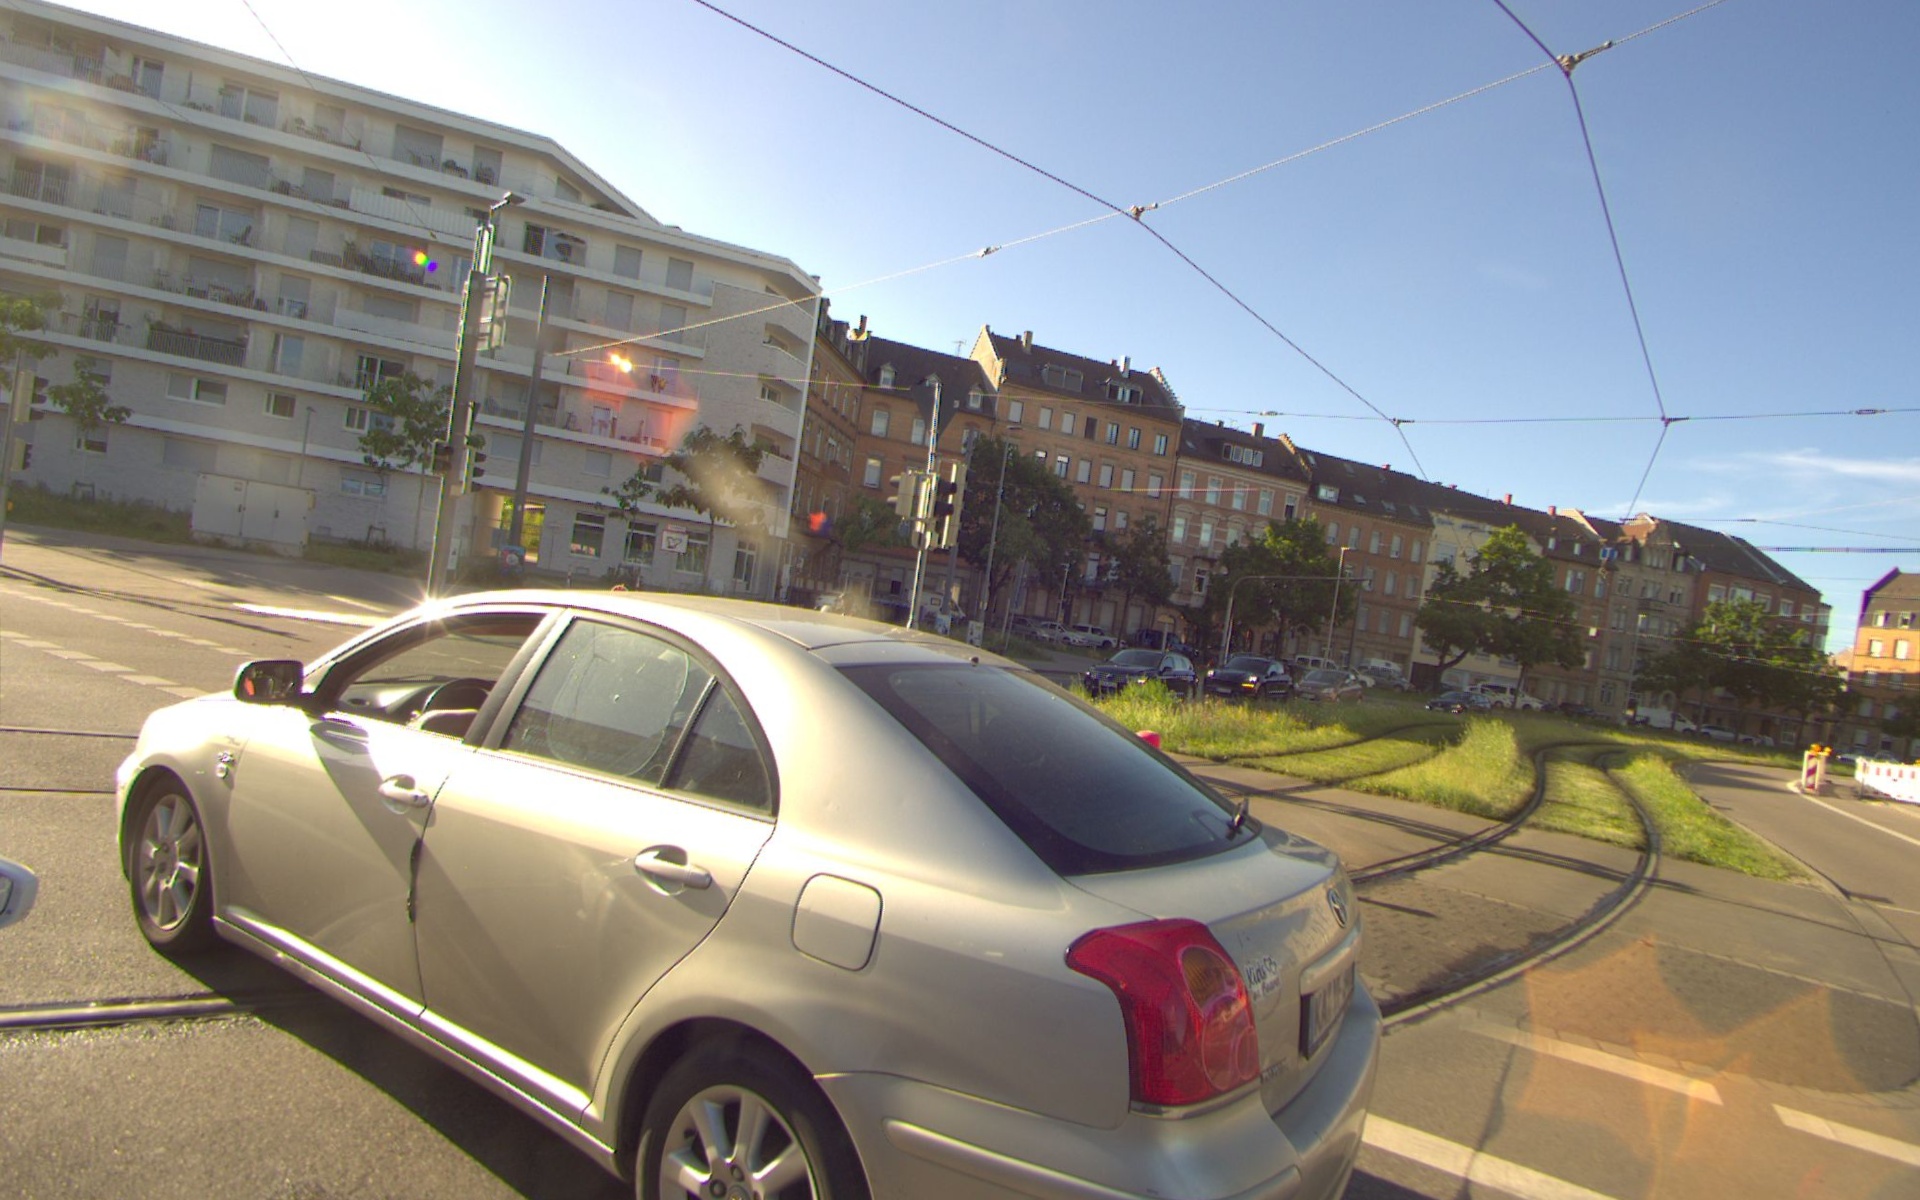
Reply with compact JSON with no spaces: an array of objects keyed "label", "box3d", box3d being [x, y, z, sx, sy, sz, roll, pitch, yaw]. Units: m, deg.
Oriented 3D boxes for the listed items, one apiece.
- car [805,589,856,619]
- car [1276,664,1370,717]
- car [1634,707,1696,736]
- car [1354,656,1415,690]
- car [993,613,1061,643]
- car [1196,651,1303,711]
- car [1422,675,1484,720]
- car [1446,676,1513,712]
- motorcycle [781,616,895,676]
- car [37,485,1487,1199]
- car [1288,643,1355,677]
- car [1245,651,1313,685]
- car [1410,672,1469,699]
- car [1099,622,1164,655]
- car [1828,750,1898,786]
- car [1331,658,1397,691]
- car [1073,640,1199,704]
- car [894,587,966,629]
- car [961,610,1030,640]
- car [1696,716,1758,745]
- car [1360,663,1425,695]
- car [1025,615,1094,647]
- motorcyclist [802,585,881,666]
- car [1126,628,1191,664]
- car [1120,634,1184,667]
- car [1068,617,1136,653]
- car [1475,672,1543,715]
[{"label":"car","box3d":[-7.826,0.255,61.294,1.962,1.504,4.002,7,0,7]},{"label":"car","box3d":[14.672,3.678,40.562,1.973,1.637,4.081,8,-1,44]},{"label":"car","box3d":[59.468,10.227,84.874,3.943,1.793,1.992,7,0,40]},{"label":"car","box3d":[36.023,6.202,85.460,4.121,2.216,1.996,8,0,-11]},{"label":"car","box3d":[4.291,1.802,64.630,1.989,1.370,3.949,8,0,-44]},{"label":"car","box3d":[9.819,2.760,33.937,1.968,1.637,4.530,8,0,35]},{"label":"car","box3d":[25.932,5.126,52.880,1.970,2.038,3.985,7,0,38]},{"label":"car","box3d":[39.783,7.195,77.098,3.945,1.794,1.989,14,4,44]},{"label":"motorcycle","box3d":[-2.528,0.991,21.233,1.151,1.012,2.460,8,-1,25]},{"label":"car","box3d":[-0.977,0.667,3.295,4.551,1.499,1.749,8,-1,32]},{"label":"car","box3d":[25.805,4.290,71.876,3.938,1.793,1.994,7,0,36]},{"label":"car","box3d":[22.520,4.814,71.117,1.989,1.798,3.948,7,0,-45]},{"label":"car","box3d":[41.558,7.408,87.210,4.348,1.742,1.992,8,0,-18]},{"label":"car","box3d":[12.031,2.701,70.810,1.988,1.793,3.950,7,0,-44]},{"label":"car","box3d":[63.264,11.781,70.513,3.949,1.725,1.991,10,-2,-21]},{"label":"car","box3d":[29.401,5.417,73.232,3.938,1.793,1.994,7,0,36]},{"label":"car","box3d":[4.842,1.981,27.155,1.742,1.416,4.247,5,-3,33]},{"label":"car","box3d":[-2.144,0.569,71.707,4.534,2.338,1.993,9,0,-16]},{"label":"car","box3d":[2.232,1.562,63.365,1.989,1.370,3.949,8,0,-44]},{"label":"car","box3d":[65.890,11.169,86.441,3.943,1.793,1.992,7,0,40]},{"label":"car","box3d":[32.339,5.873,75.216,3.938,1.793,1.994,7,0,36]},{"label":"car","box3d":[6.473,2.012,65.695,1.989,1.504,3.949,8,0,-44]},{"label":"motorcyclist","box3d":[-2.490,0.550,21.188,1.151,1.499,0.927,8,0,26]},{"label":"car","box3d":[15.444,3.583,78.260,4.345,2.216,1.993,8,0,-16]},{"label":"car","box3d":[13.804,3.608,72.557,1.988,1.793,3.949,7,0,-44]},{"label":"car","box3d":[9.426,2.304,66.835,1.988,1.793,3.949,7,0,-44]},{"label":"car","box3d":[43.054,7.350,78.970,3.944,2.438,1.989,15,5,44]}]
